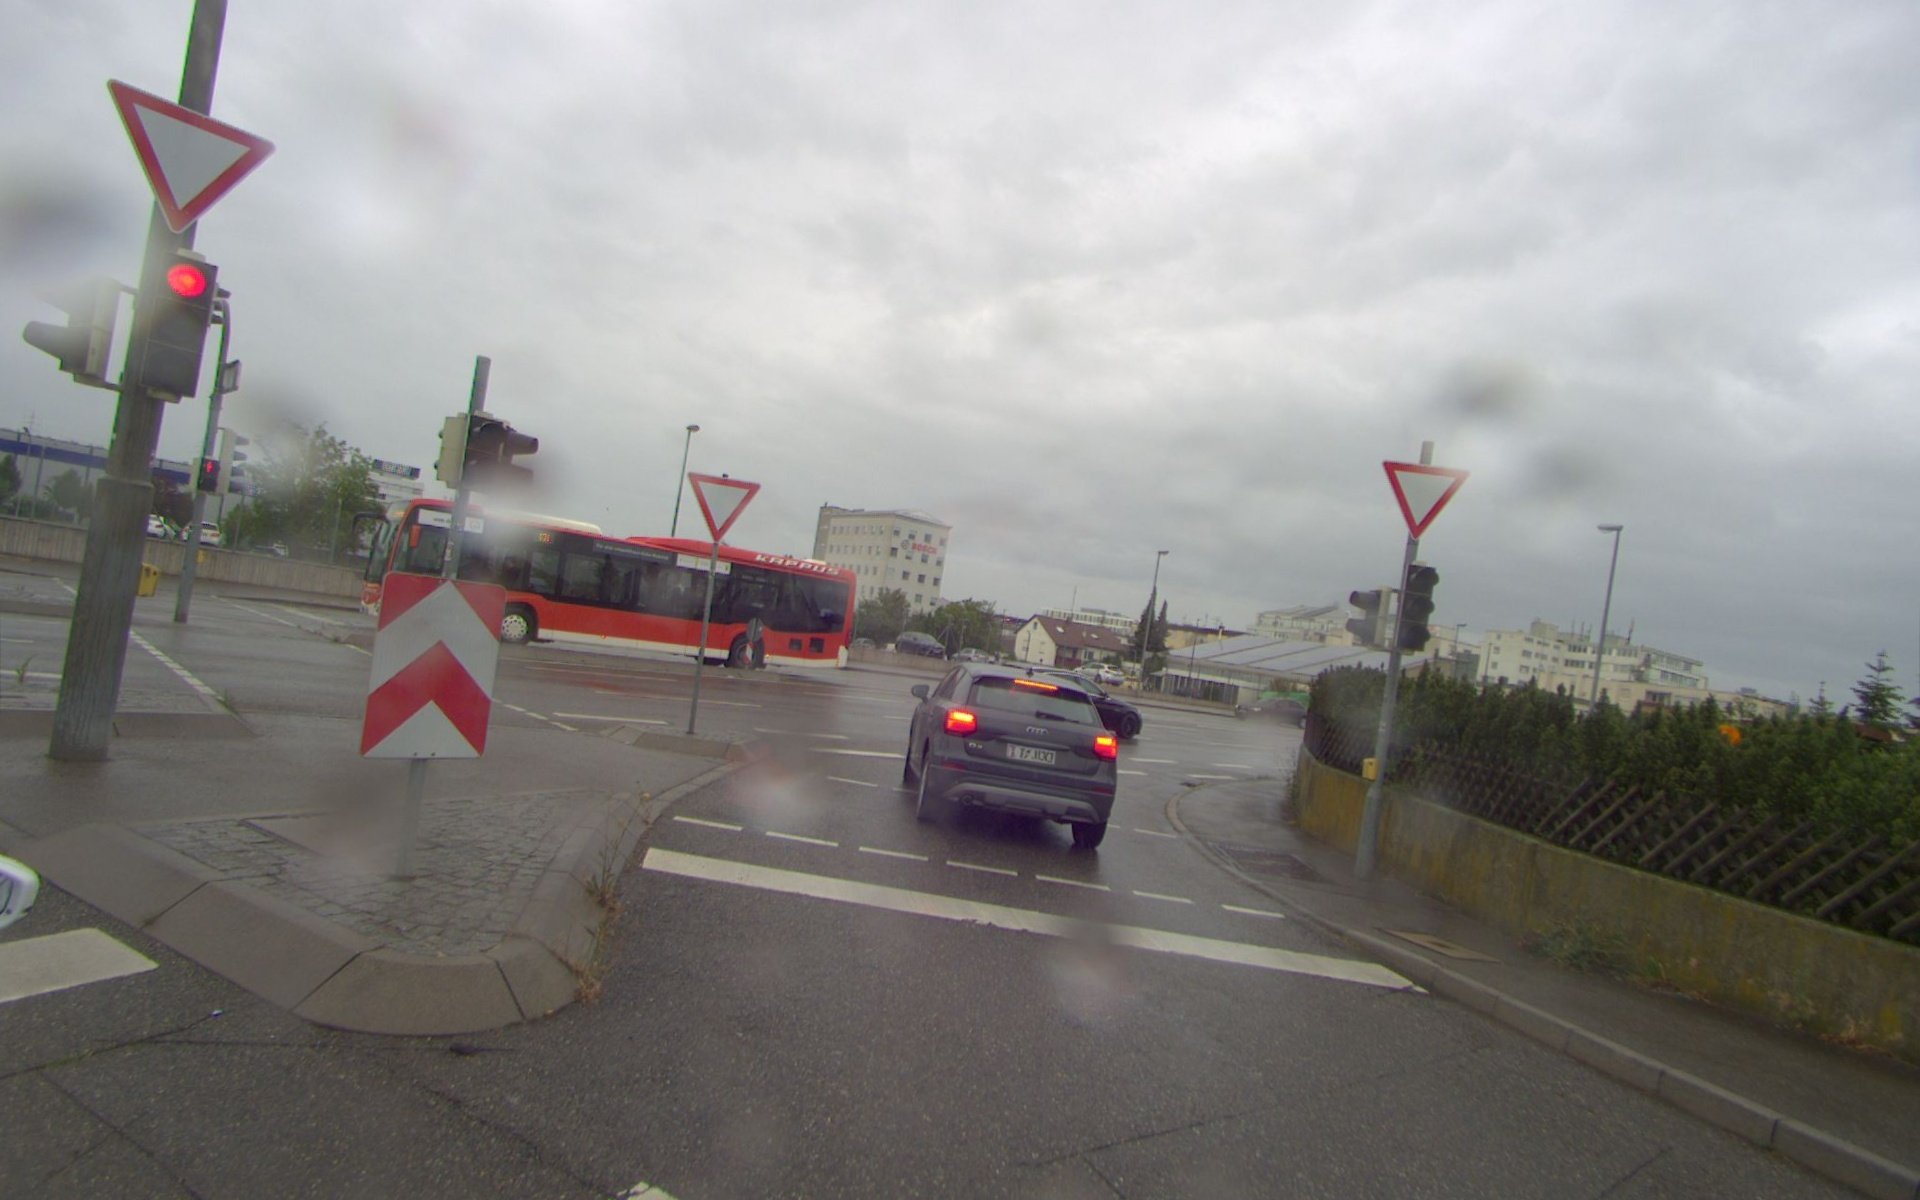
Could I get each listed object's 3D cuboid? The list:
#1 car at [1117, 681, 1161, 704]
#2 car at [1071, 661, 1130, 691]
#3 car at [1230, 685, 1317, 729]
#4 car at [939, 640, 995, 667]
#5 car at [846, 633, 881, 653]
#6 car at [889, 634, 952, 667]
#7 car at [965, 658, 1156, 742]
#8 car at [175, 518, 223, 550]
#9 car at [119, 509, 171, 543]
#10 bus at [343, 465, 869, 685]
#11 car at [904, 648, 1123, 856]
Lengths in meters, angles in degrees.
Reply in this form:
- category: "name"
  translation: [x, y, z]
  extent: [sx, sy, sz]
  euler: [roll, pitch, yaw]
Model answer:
- category: "car"
  translation: [17.812, 9.185, 99.942]
  extent: [3.760, 1.771, 1.887]
  euler: [9, -2, -29]
- category: "car"
  translation: [9.741, 5.249, 70.046]
  extent: [1.979, 1.494, 3.971]
  euler: [9, -2, -29]
- category: "car"
  translation: [16.091, 5.502, 51.632]
  extent: [3.963, 1.584, 1.984]
  euler: [11, -3, -31]
- category: "car"
  translation: [0.549, 4.369, 82.218]
  extent: [3.951, 1.494, 1.989]
  euler: [9, -2, -24]
- category: "car"
  translation: [-9.648, 4.245, 100.427]
  extent: [1.979, 1.494, 3.971]
  euler: [9, -2, -29]
- category: "car"
  translation: [-2.469, 3.087, 61.949]
  extent: [1.983, 1.494, 3.964]
  euler: [10, -2, -34]
- category: "car"
  translation: [2.553, 2.489, 24.726]
  extent: [4.649, 1.493, 1.976]
  euler: [11, -3, -43]
- category: "car"
  translation: [-43.893, -3.808, 58.023]
  extent: [1.986, 1.495, 3.958]
  euler: [10, -2, -38]
- category: "car"
  translation: [-45.612, -4.134, 56.355]
  extent: [1.985, 1.495, 3.959]
  euler: [10, -2, -38]
- category: "bus"
  translation: [-8.320, -0.273, 25.842]
  extent: [12.247, 3.357, 3.039]
  euler: [12, -3, -41]
- category: "car"
  translation: [0.352, 1.399, 10.536]
  extent: [1.659, 1.511, 3.942]
  euler: [10, -3, -3]
